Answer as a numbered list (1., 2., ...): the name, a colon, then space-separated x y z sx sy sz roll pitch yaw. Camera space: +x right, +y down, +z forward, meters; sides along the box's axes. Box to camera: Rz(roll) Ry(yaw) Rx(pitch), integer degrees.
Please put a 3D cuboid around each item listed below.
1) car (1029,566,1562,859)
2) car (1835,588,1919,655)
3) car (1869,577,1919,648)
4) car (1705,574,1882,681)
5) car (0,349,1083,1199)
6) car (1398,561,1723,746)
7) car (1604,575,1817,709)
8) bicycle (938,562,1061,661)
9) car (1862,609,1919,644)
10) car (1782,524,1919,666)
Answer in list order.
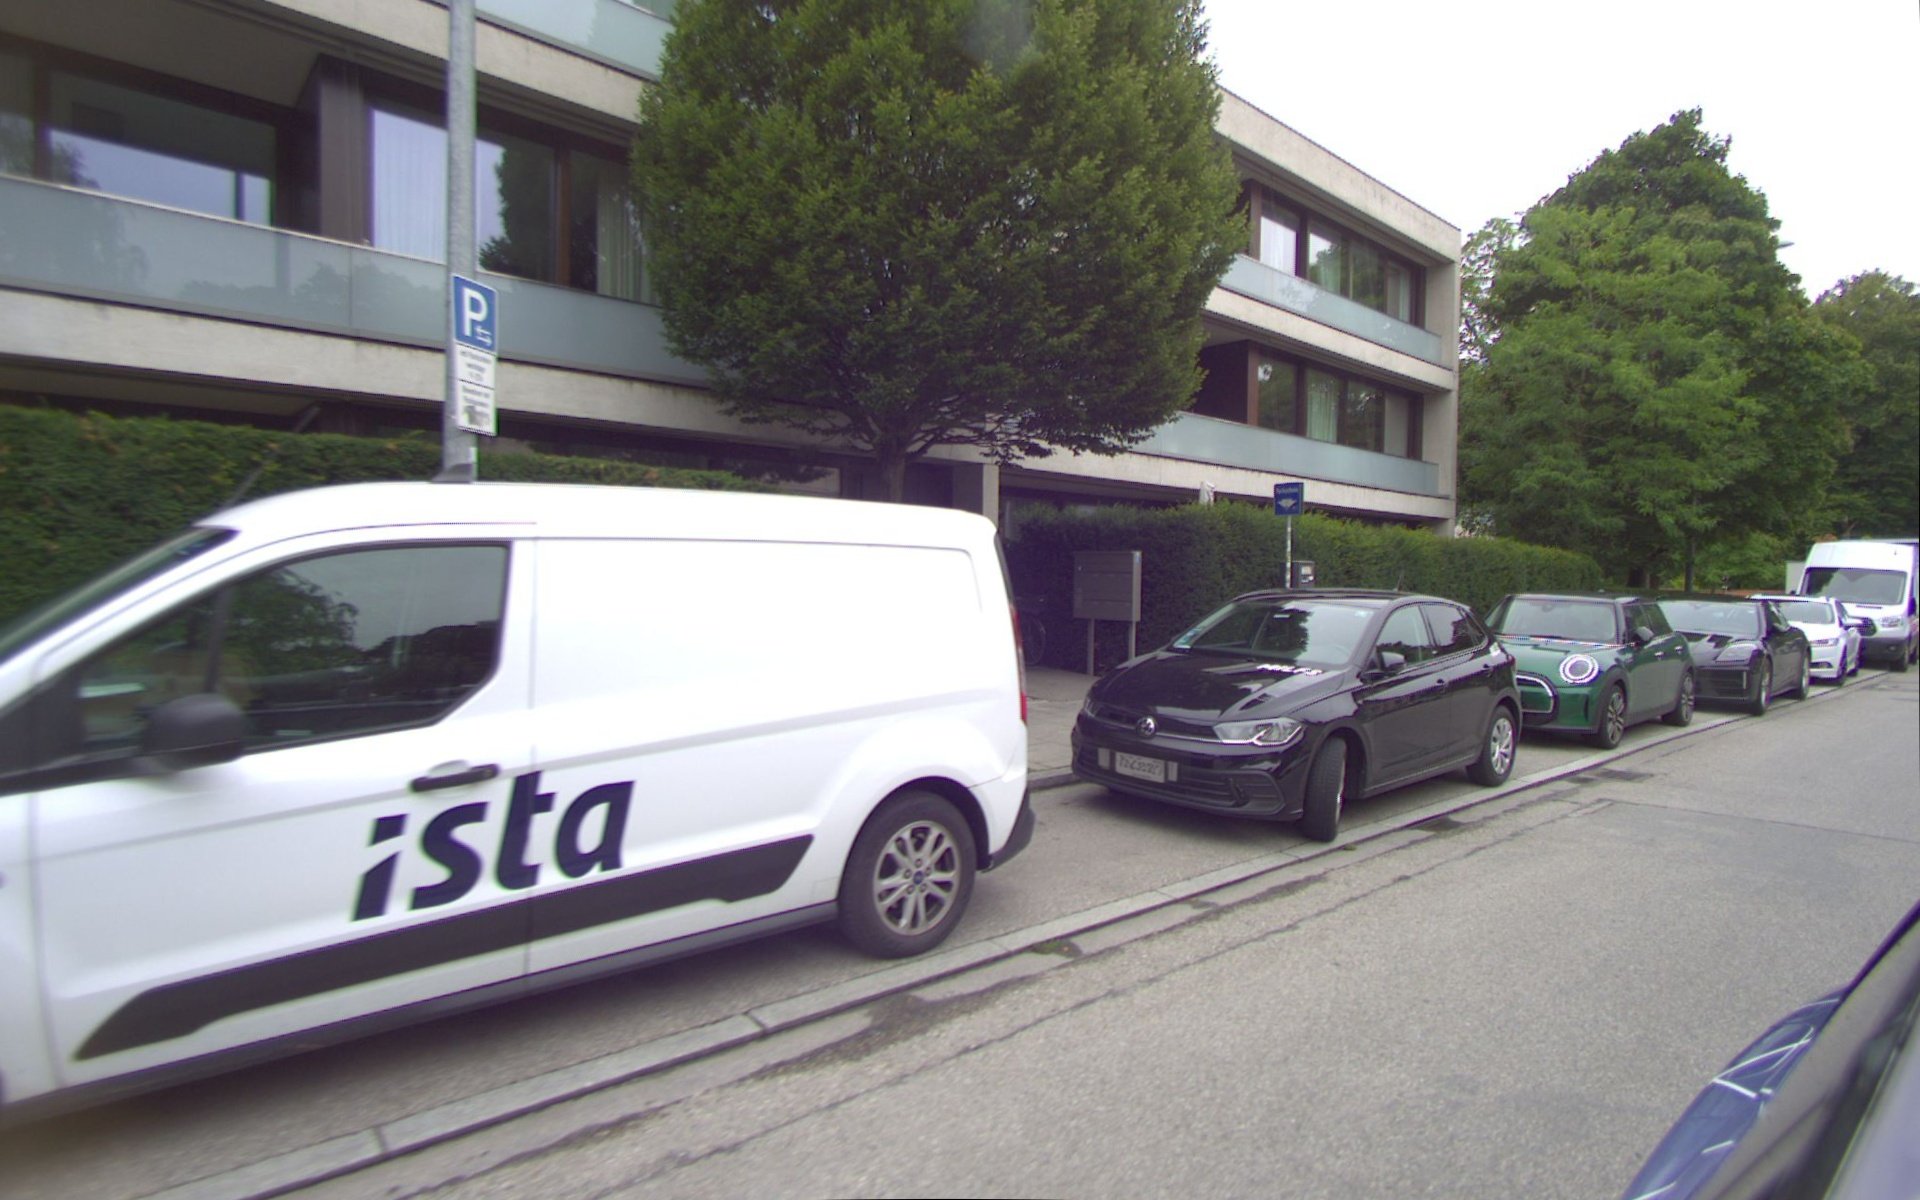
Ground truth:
1. car: 2.595 0.565 7.265 4.169 1.482 1.751 0 2 -41
2. car: 24.696 0.539 26.668 4.755 1.525 1.874 1 4 -43
3. car: 28.692 0.403 29.910 4.982 1.928 1.940 1 3 -40
4. car: 15.150 0.444 18.280 4.919 1.588 1.873 1 3 -44
5. car: -1.884 0.382 3.622 4.810 1.884 1.826 0 0 -40
6. car: 6.501 0.449 10.773 4.131 1.547 1.730 0 3 -41
7. car: 10.634 0.510 14.173 5.116 1.524 1.284 1 3 -42
8. bicycle: 0.516 0.125 13.990 0.545 1.233 1.787 0 3 -44
9. car: 41.981 1.150 43.854 1.902 1.465 4.019 3 -1 -7
10. car: 20.231 -0.124 22.487 5.984 2.719 2.083 1 3 -43
